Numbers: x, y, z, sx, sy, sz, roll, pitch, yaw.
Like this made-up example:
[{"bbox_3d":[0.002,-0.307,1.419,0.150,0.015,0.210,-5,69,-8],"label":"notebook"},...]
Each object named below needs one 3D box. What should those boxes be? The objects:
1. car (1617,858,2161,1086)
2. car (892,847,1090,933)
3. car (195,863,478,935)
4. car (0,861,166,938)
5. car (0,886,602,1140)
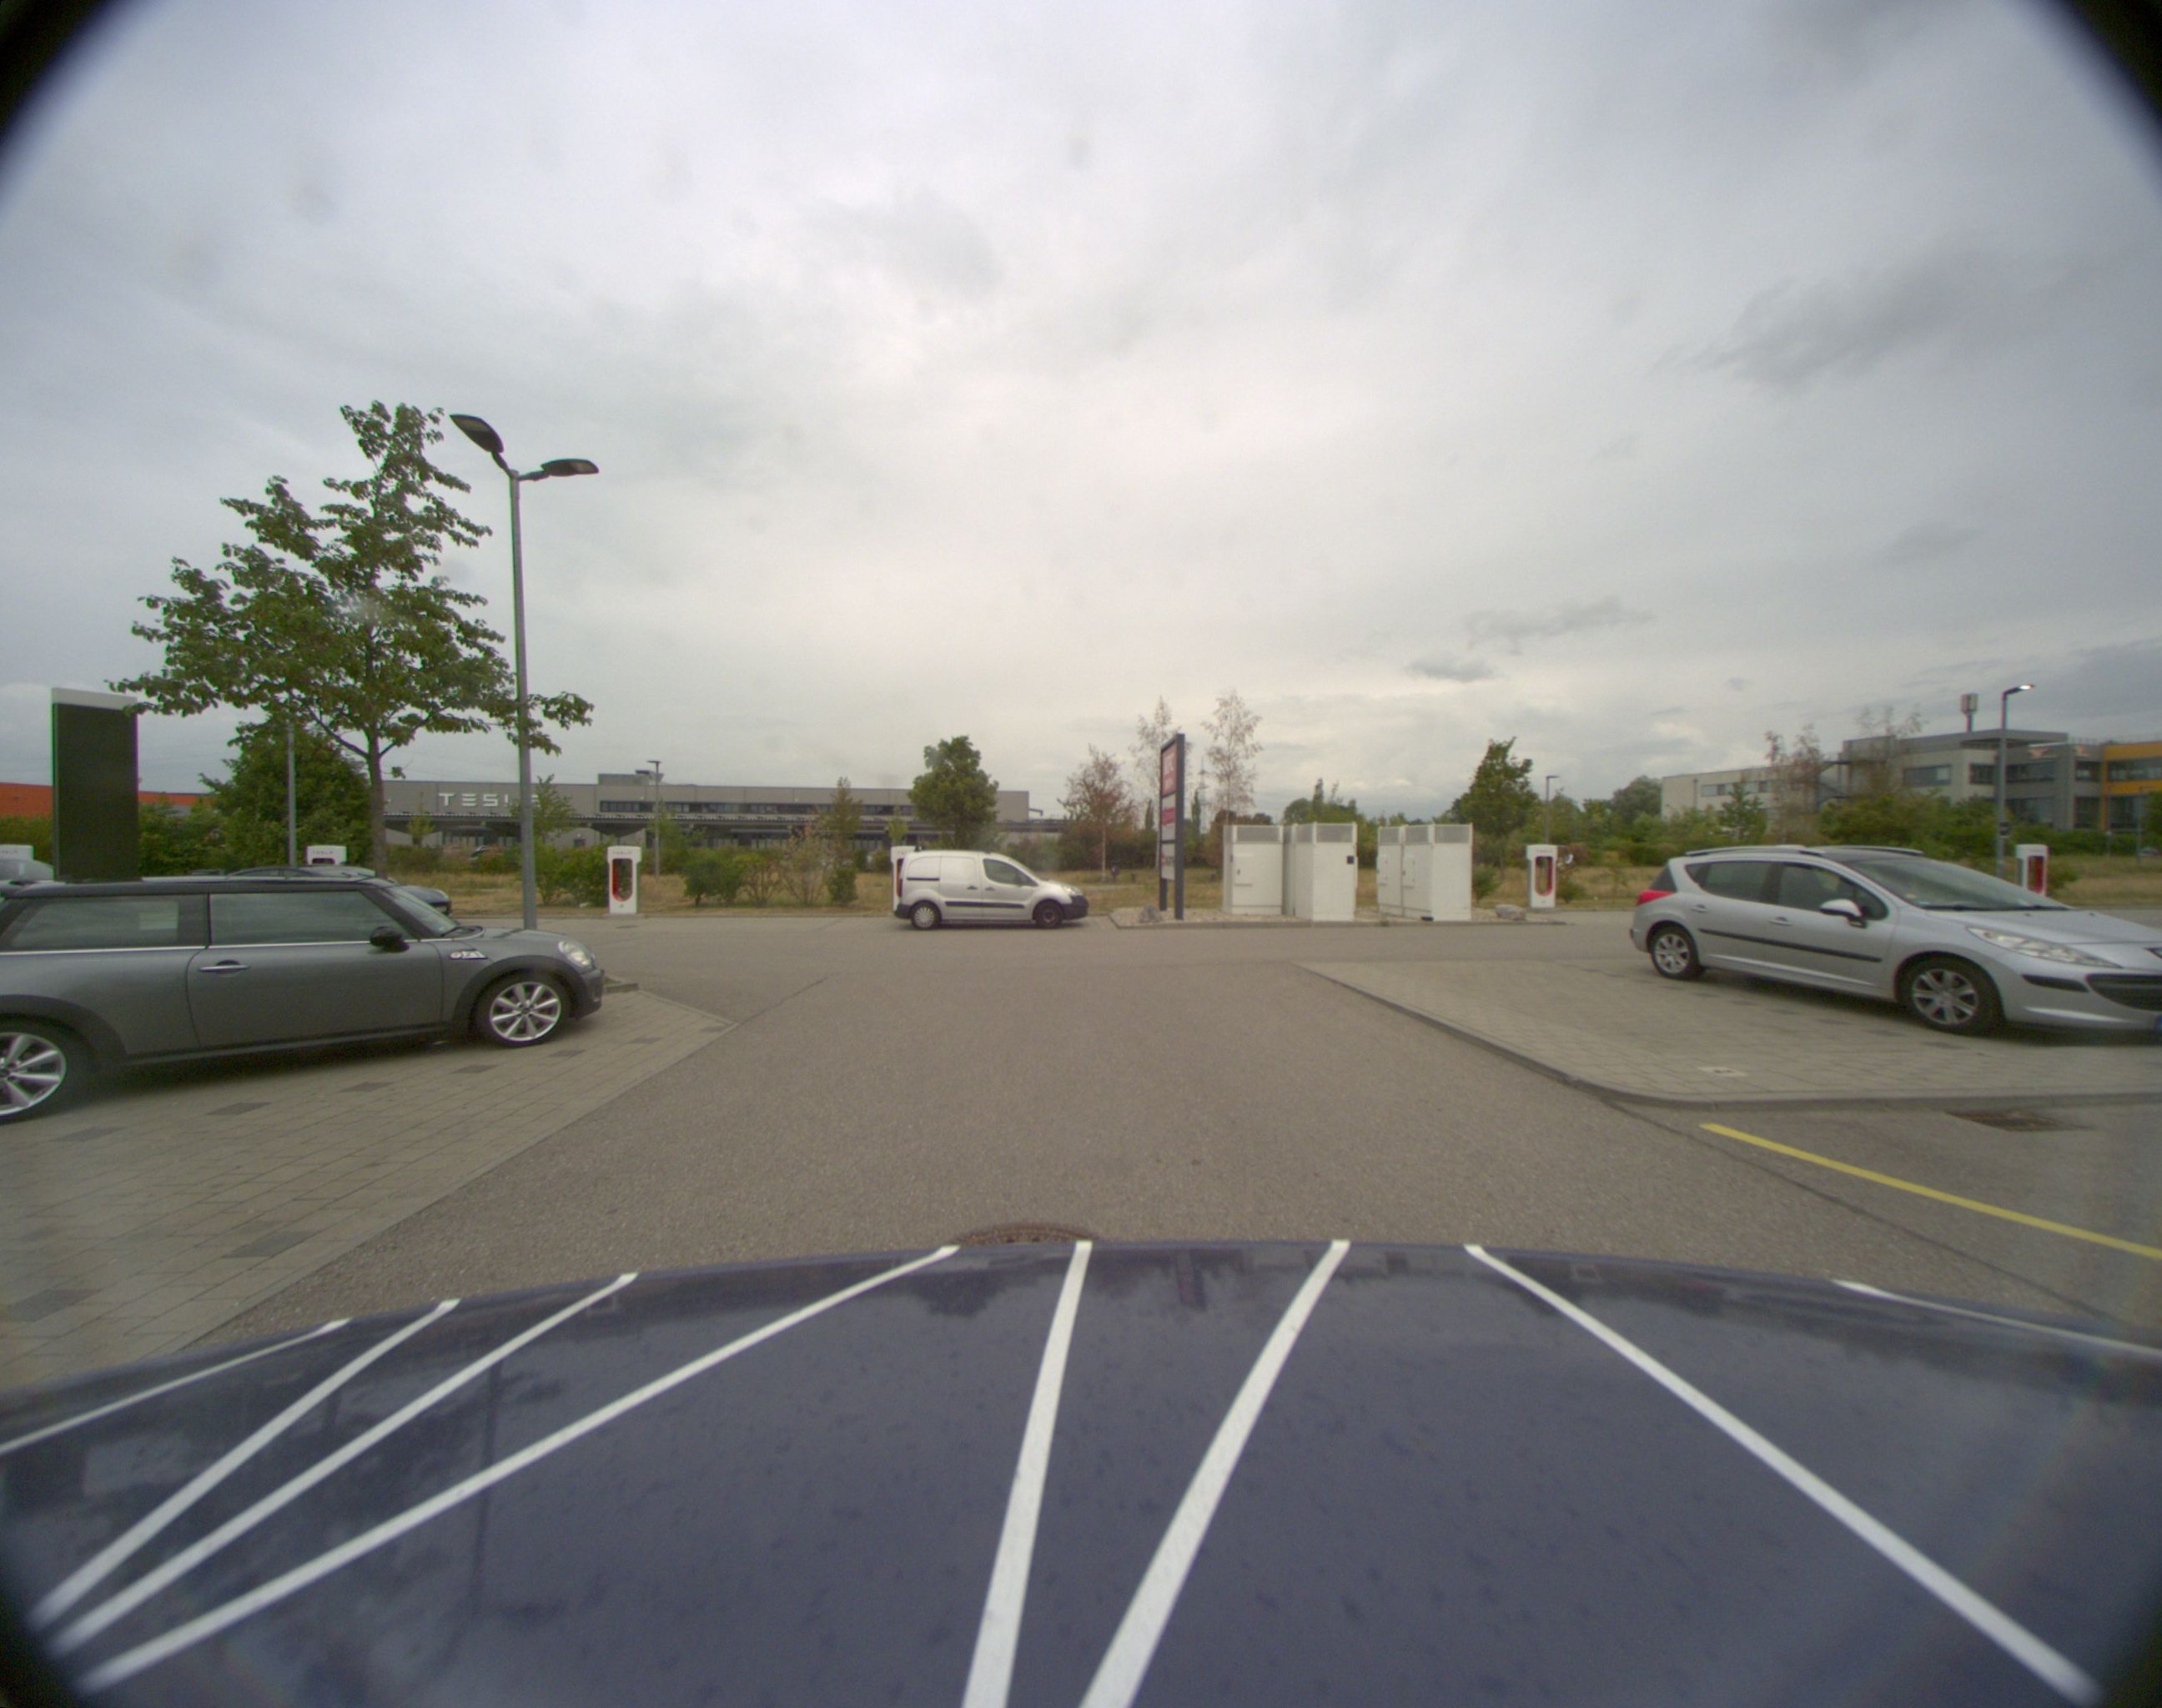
[{"bbox_3d":[7.498,0.806,7.232,1.628,1.496,4.167,0,0,-4],"label":"car"},{"bbox_3d":[-2.032,0.818,17.700,4.335,1.877,1.946,0,-1,-4],"label":"car"},{"bbox_3d":[-16.523,0.977,17.051,4.454,1.450,1.833,0,1,-2],"label":"car"},{"bbox_3d":[-23.627,0.953,16.589,4.477,1.544,2.072,0,1,-5],"label":"car"},{"bbox_3d":[-5.862,0.969,5.737,3.535,1.368,1.605,1,-1,-44],"label":"car"}]
